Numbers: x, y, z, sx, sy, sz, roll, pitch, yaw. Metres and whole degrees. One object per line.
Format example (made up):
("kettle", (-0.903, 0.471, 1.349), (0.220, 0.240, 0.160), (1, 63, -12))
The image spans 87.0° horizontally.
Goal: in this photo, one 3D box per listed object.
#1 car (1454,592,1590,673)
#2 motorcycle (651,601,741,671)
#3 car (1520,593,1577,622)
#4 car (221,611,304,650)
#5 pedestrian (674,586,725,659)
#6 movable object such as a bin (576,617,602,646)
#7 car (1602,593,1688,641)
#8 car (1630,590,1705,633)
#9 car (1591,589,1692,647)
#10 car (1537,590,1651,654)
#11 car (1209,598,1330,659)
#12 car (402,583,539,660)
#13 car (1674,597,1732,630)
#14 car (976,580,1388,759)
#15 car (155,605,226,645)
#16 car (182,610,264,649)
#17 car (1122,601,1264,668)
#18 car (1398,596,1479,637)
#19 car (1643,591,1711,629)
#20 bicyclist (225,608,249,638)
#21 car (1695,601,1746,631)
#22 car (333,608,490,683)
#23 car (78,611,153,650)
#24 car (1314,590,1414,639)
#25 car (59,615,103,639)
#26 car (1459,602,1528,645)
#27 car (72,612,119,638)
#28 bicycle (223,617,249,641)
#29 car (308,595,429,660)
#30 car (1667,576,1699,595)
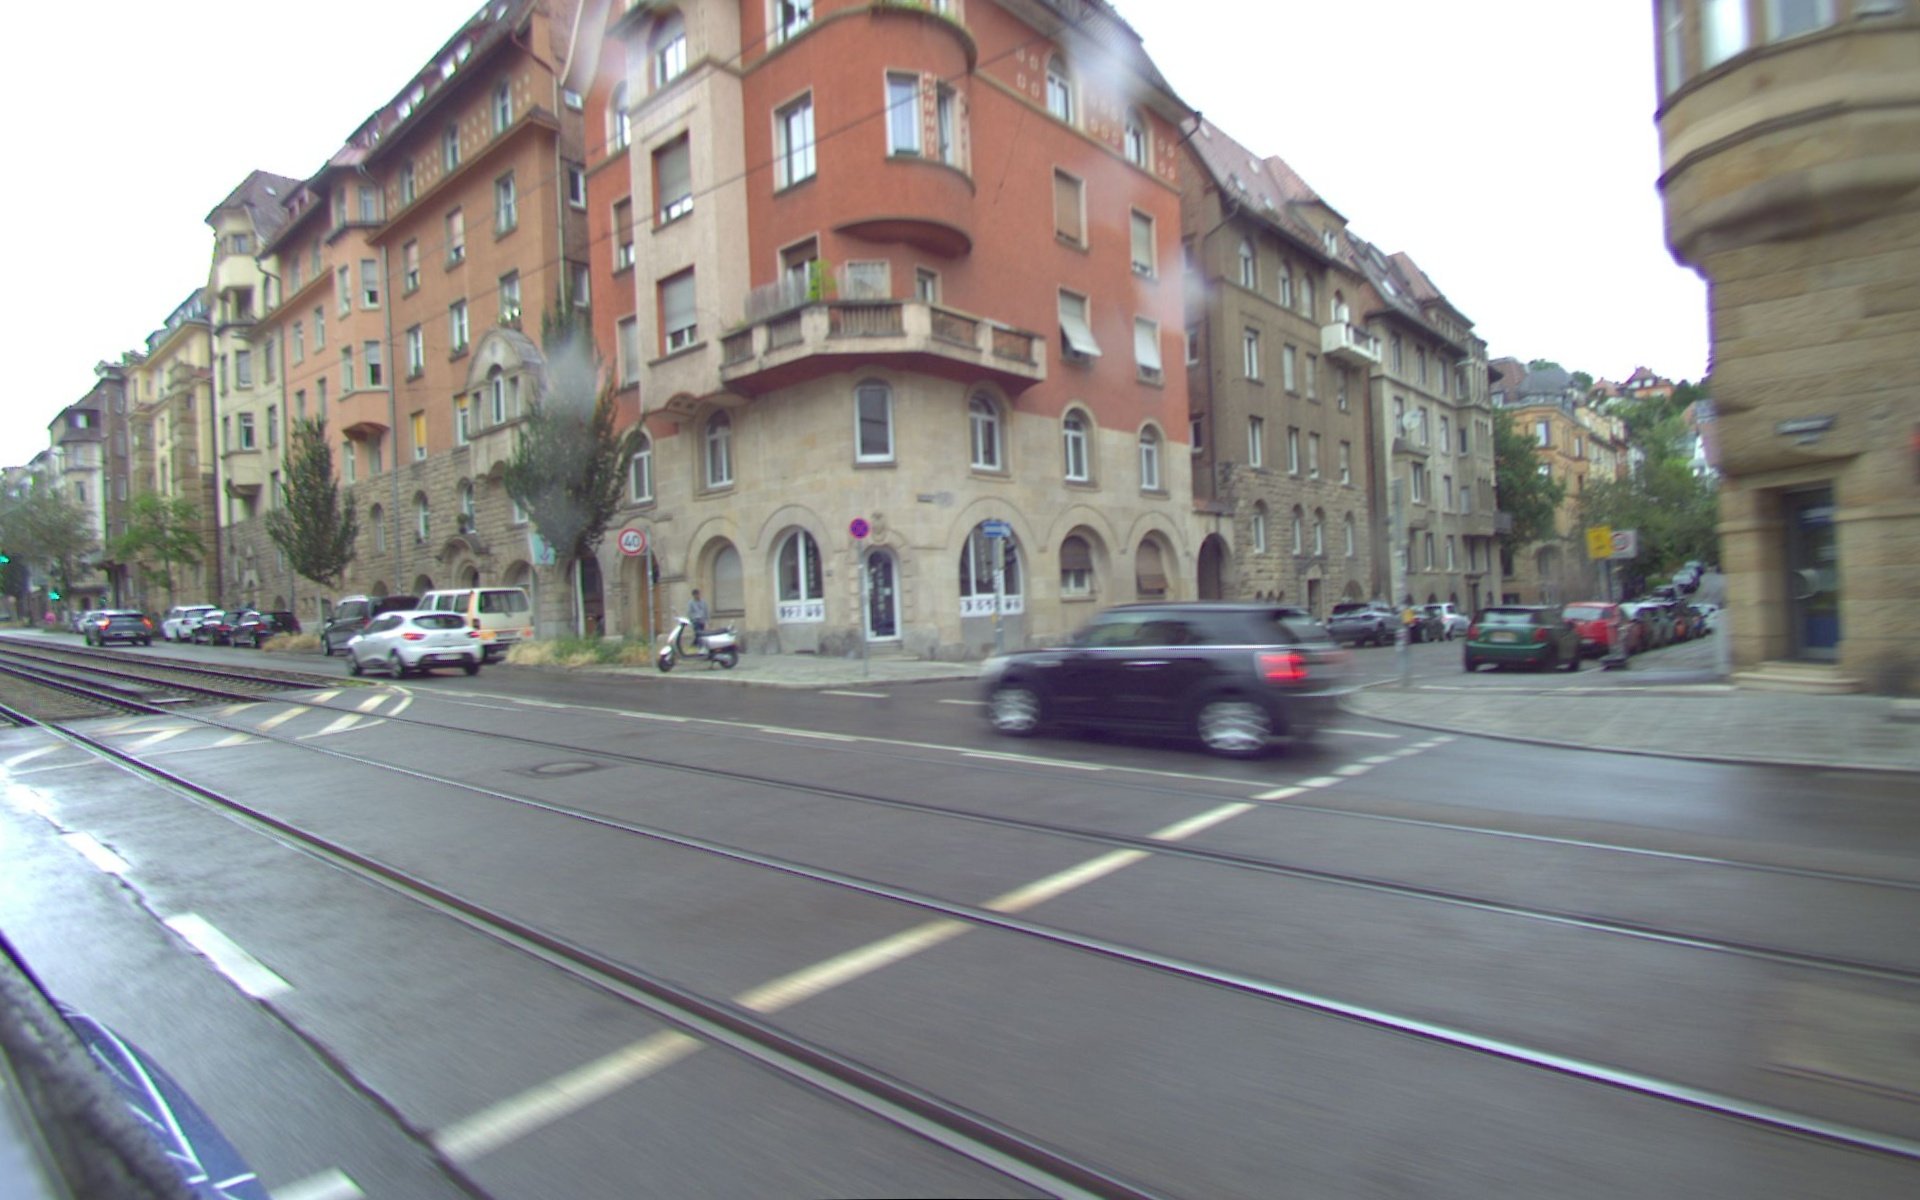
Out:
("car", (12.291, 0.631, 22.026), (1.997, 1.586, 3.949), (-1, 0, 38))
("motorcycle", (-5.442, 0.721, 20.815), (1.754, 1.385, 0.770), (0, 0, -17))
("car", (32.712, 0.390, 56.234), (1.999, 1.586, 3.945), (-1, 0, 42))
("car", (-28.021, 1.189, 40.638), (3.691, 1.414, 1.738), (-1, 2, 39))
("pedestrian", (-6.491, 0.544, 25.182), (0.892, 1.731, 0.709), (-1, 5, 42))
("movable object such as a bin", (-12.022, 1.020, 32.802), (0.656, 0.905, 0.540), (-1, 0, 45))
("car", (23.940, 0.550, 35.326), (1.999, 1.586, 3.945), (-1, 0, 42))
("car", (28.033, 0.426, 40.063), (1.999, 1.586, 3.945), (-1, 0, 42))
("car", (20.372, 0.493, 30.195), (1.999, 1.586, 3.945), (-1, 0, 42))
("car", (17.256, 0.545, 27.479), (1.999, 1.586, 3.945), (-1, 0, 42))
("car", (8.715, 0.739, 28.302), (1.997, 1.586, 3.950), (-1, 0, 37))
("car", (-13.422, 0.553, 27.614), (4.473, 1.945, 1.711), (-1, 0, 40))
("car", (37.418, 0.643, 50.911), (1.999, 1.586, 3.945), (-1, 0, 42))
("car", (2.104, 0.617, 10.193), (3.733, 1.474, 1.636), (-2, -2, 42))
("car", (-36.115, 1.132, 47.435), (4.257, 1.684, 1.737), (-1, 3, 41))
("car", (-31.810, 1.239, 43.641), (4.594, 1.502, 1.738), (-1, 2, 40))
("car", (5.802, 0.789, 24.907), (1.746, 1.478, 3.945), (-1, 0, 41))
("car", (19.755, 0.646, 41.698), (1.999, 1.586, 3.945), (-1, 0, 42))
("car", (31.237, 0.398, 44.027), (1.999, 1.586, 3.945), (-1, 0, 42))
("bicyclist", (-38.388, 1.214, 53.721), (0.774, 1.613, 0.883), (-1, 0, 41))
("car", (43.024, 0.893, 57.224), (1.999, 1.586, 3.945), (-1, 0, 42))
("car", (-12.373, 0.946, 22.743), (4.059, 1.514, 1.763), (-1, 0, 40))
("car", (-37.649, 1.338, 45.097), (4.126, 1.629, 1.902), (-1, 0, 40))
("car", (13.913, 0.464, 34.748), (1.999, 1.586, 3.945), (-1, 0, 42))
("car", (-58.110, 1.763, 66.857), (3.712, 1.438, 1.736), (0, 3, 43))
("car", (25.523, 1.079, 48.372), (2.070, 1.921, 3.945), (-1, 0, 42))
("car", (-54.574, 1.563, 63.860), (4.043, 1.462, 1.736), (0, 3, 43))
("bicycle", (-38.431, 1.552, 53.723), (2.052, 1.231, 0.685), (-1, 0, 42))
("car", (-18.977, 0.828, 32.381), (4.830, 1.945, 1.886), (-1, 0, 41))
("car", (63.411, -1.252, 88.766), (1.998, 1.586, 3.947), (-1, 0, 39))
